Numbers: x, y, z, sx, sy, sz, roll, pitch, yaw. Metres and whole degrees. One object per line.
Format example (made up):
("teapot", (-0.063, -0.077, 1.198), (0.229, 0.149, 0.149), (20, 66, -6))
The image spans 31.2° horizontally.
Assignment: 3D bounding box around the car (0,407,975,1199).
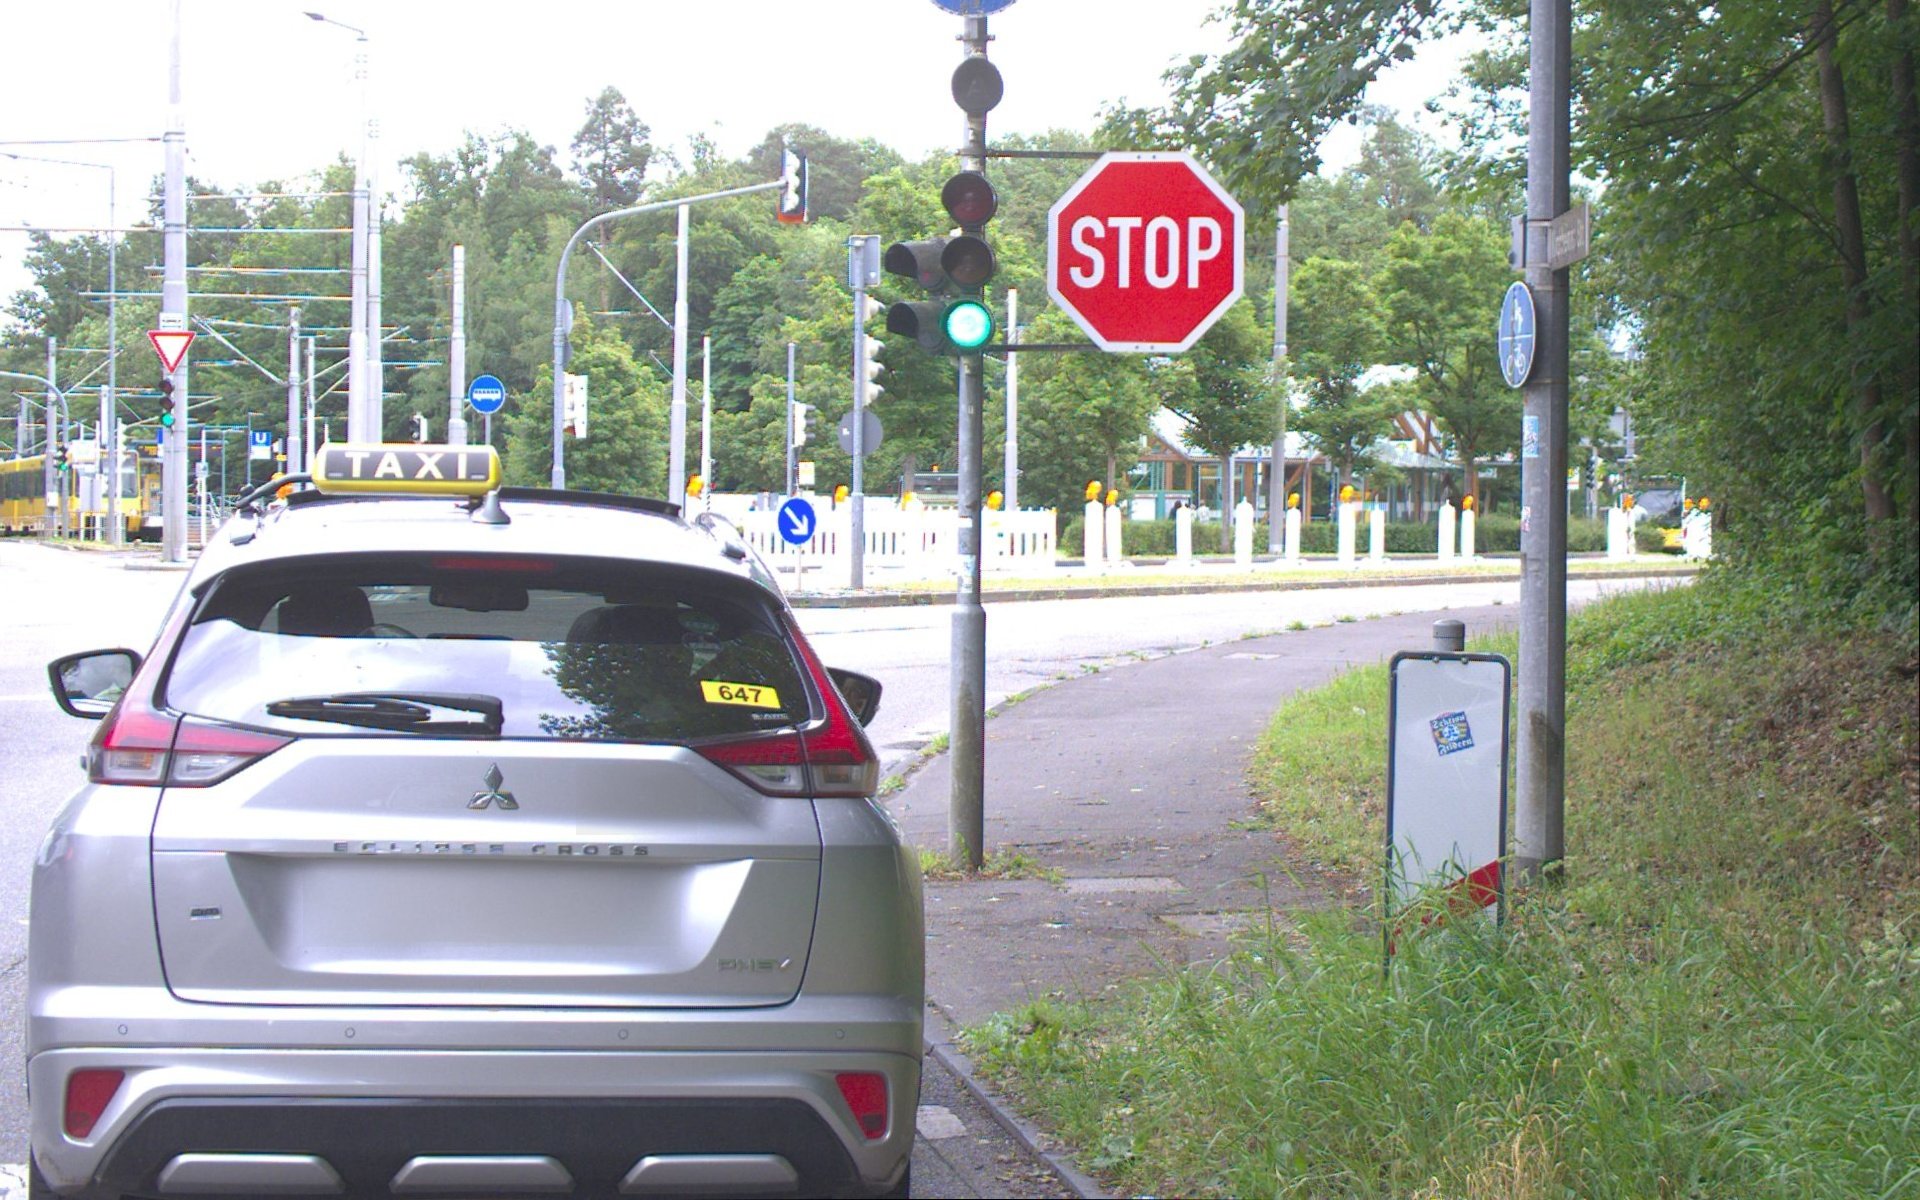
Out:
("car", (-1.119, 0.512, 8.010), (1.773, 1.742, 3.781), (2, 1, -7))
